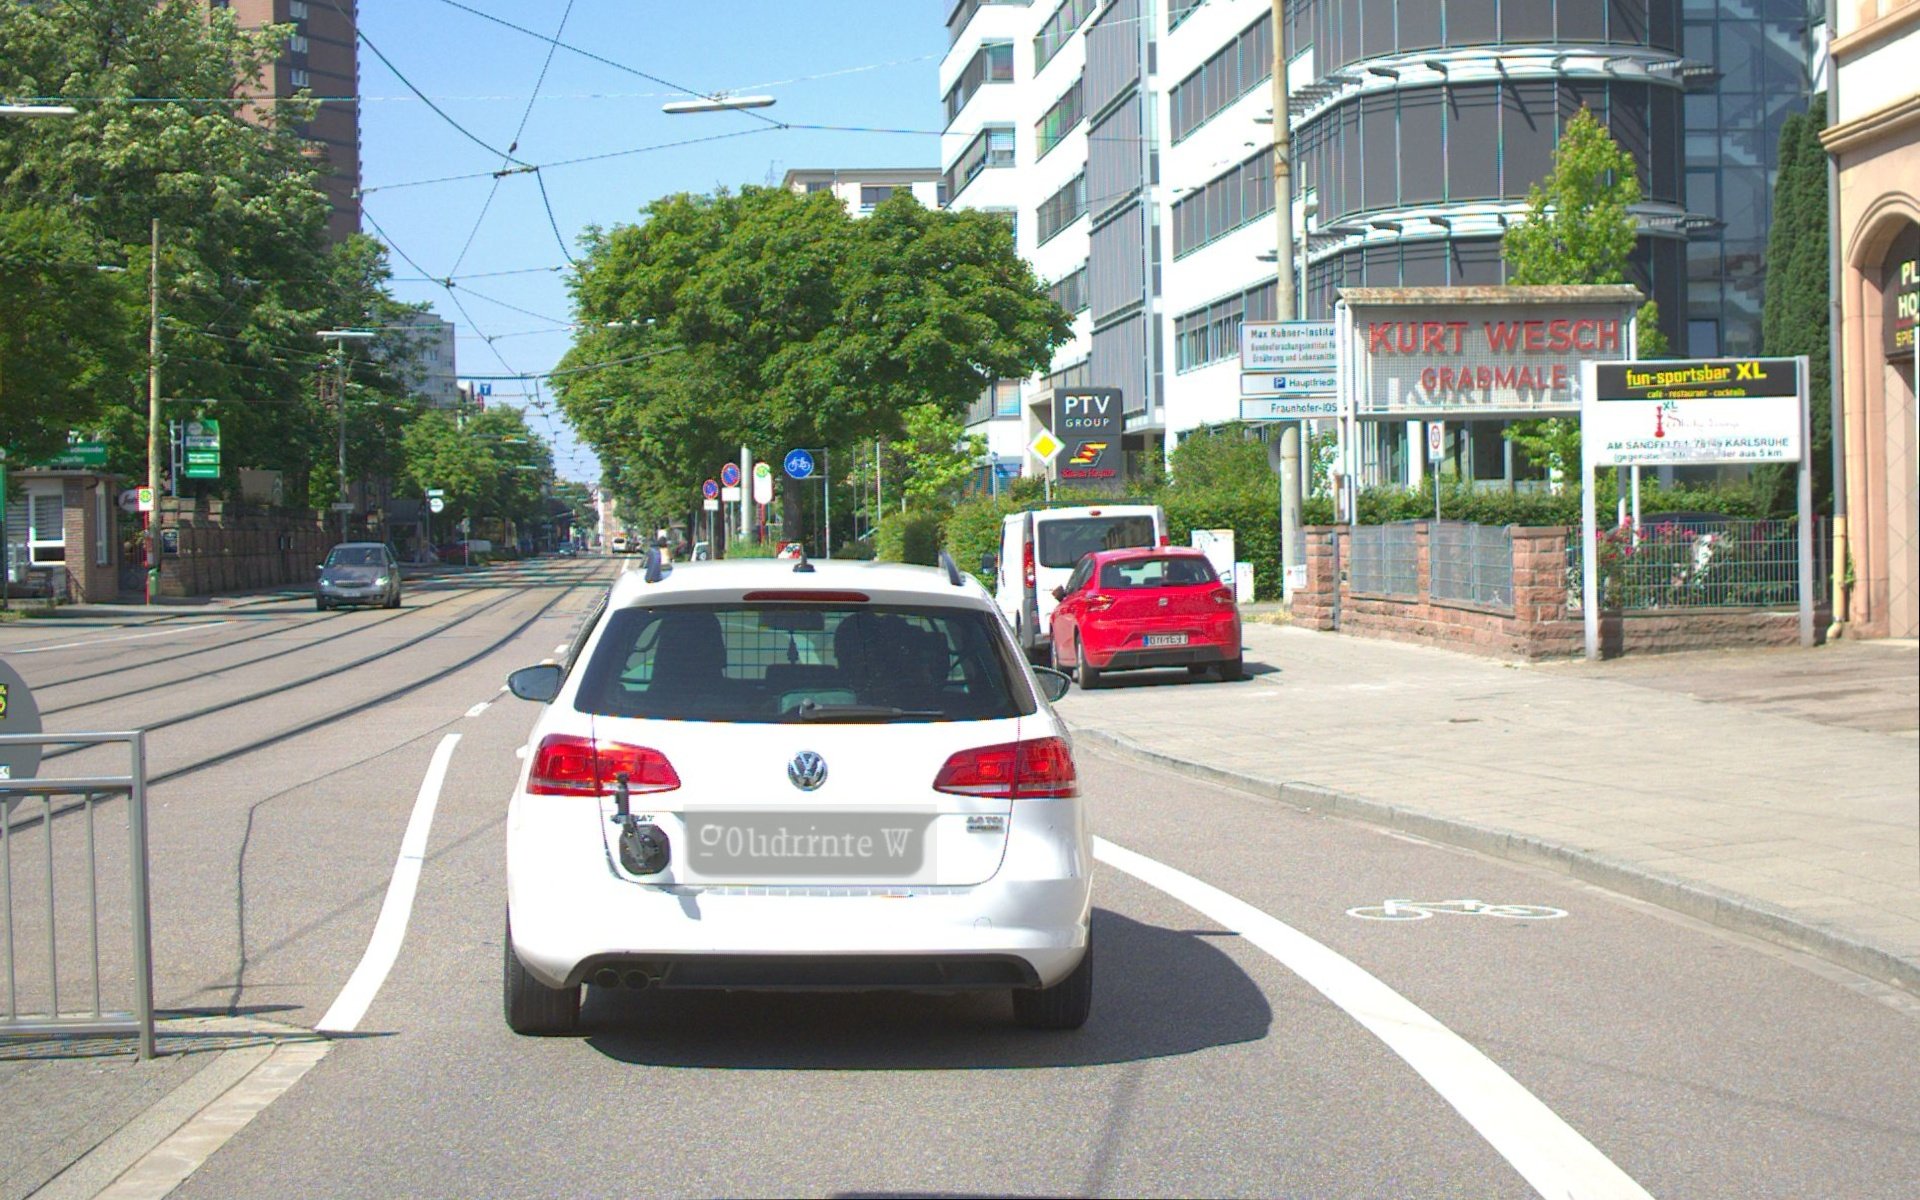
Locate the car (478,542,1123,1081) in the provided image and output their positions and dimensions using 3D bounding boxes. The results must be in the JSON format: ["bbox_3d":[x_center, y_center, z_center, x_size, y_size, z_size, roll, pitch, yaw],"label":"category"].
[{"bbox_3d":[-0.602,0.540,11.585,1.753,1.437,4.413,0,1,-4],"label":"car"}]

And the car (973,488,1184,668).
[{"bbox_3d":[1.432,-0.303,43.679,1.976,2.047,5.192,-3,1,-5],"label":"car"}]

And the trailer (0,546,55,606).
[{"bbox_3d":[-24.977,-0.611,87.994,3.215,1.520,1.778,-1,1,-4],"label":"trailer"}]

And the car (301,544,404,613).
[{"bbox_3d":[-14.686,-0.524,83.211,1.746,1.566,3.891,-2,0,0],"label":"car"}]

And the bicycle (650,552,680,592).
[{"bbox_3d":[-8.091,-0.782,94.323,0.811,1.074,2.012,-1,1,-5],"label":"bicycle"}]

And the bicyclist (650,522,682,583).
[{"bbox_3d":[-8.078,-1.305,94.528,0.785,1.623,0.738,3,0,-5],"label":"bicyclist"}]

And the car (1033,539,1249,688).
[{"bbox_3d":[1.900,0.100,37.350,1.721,1.438,4.313,-3,1,-5],"label":"car"}]
